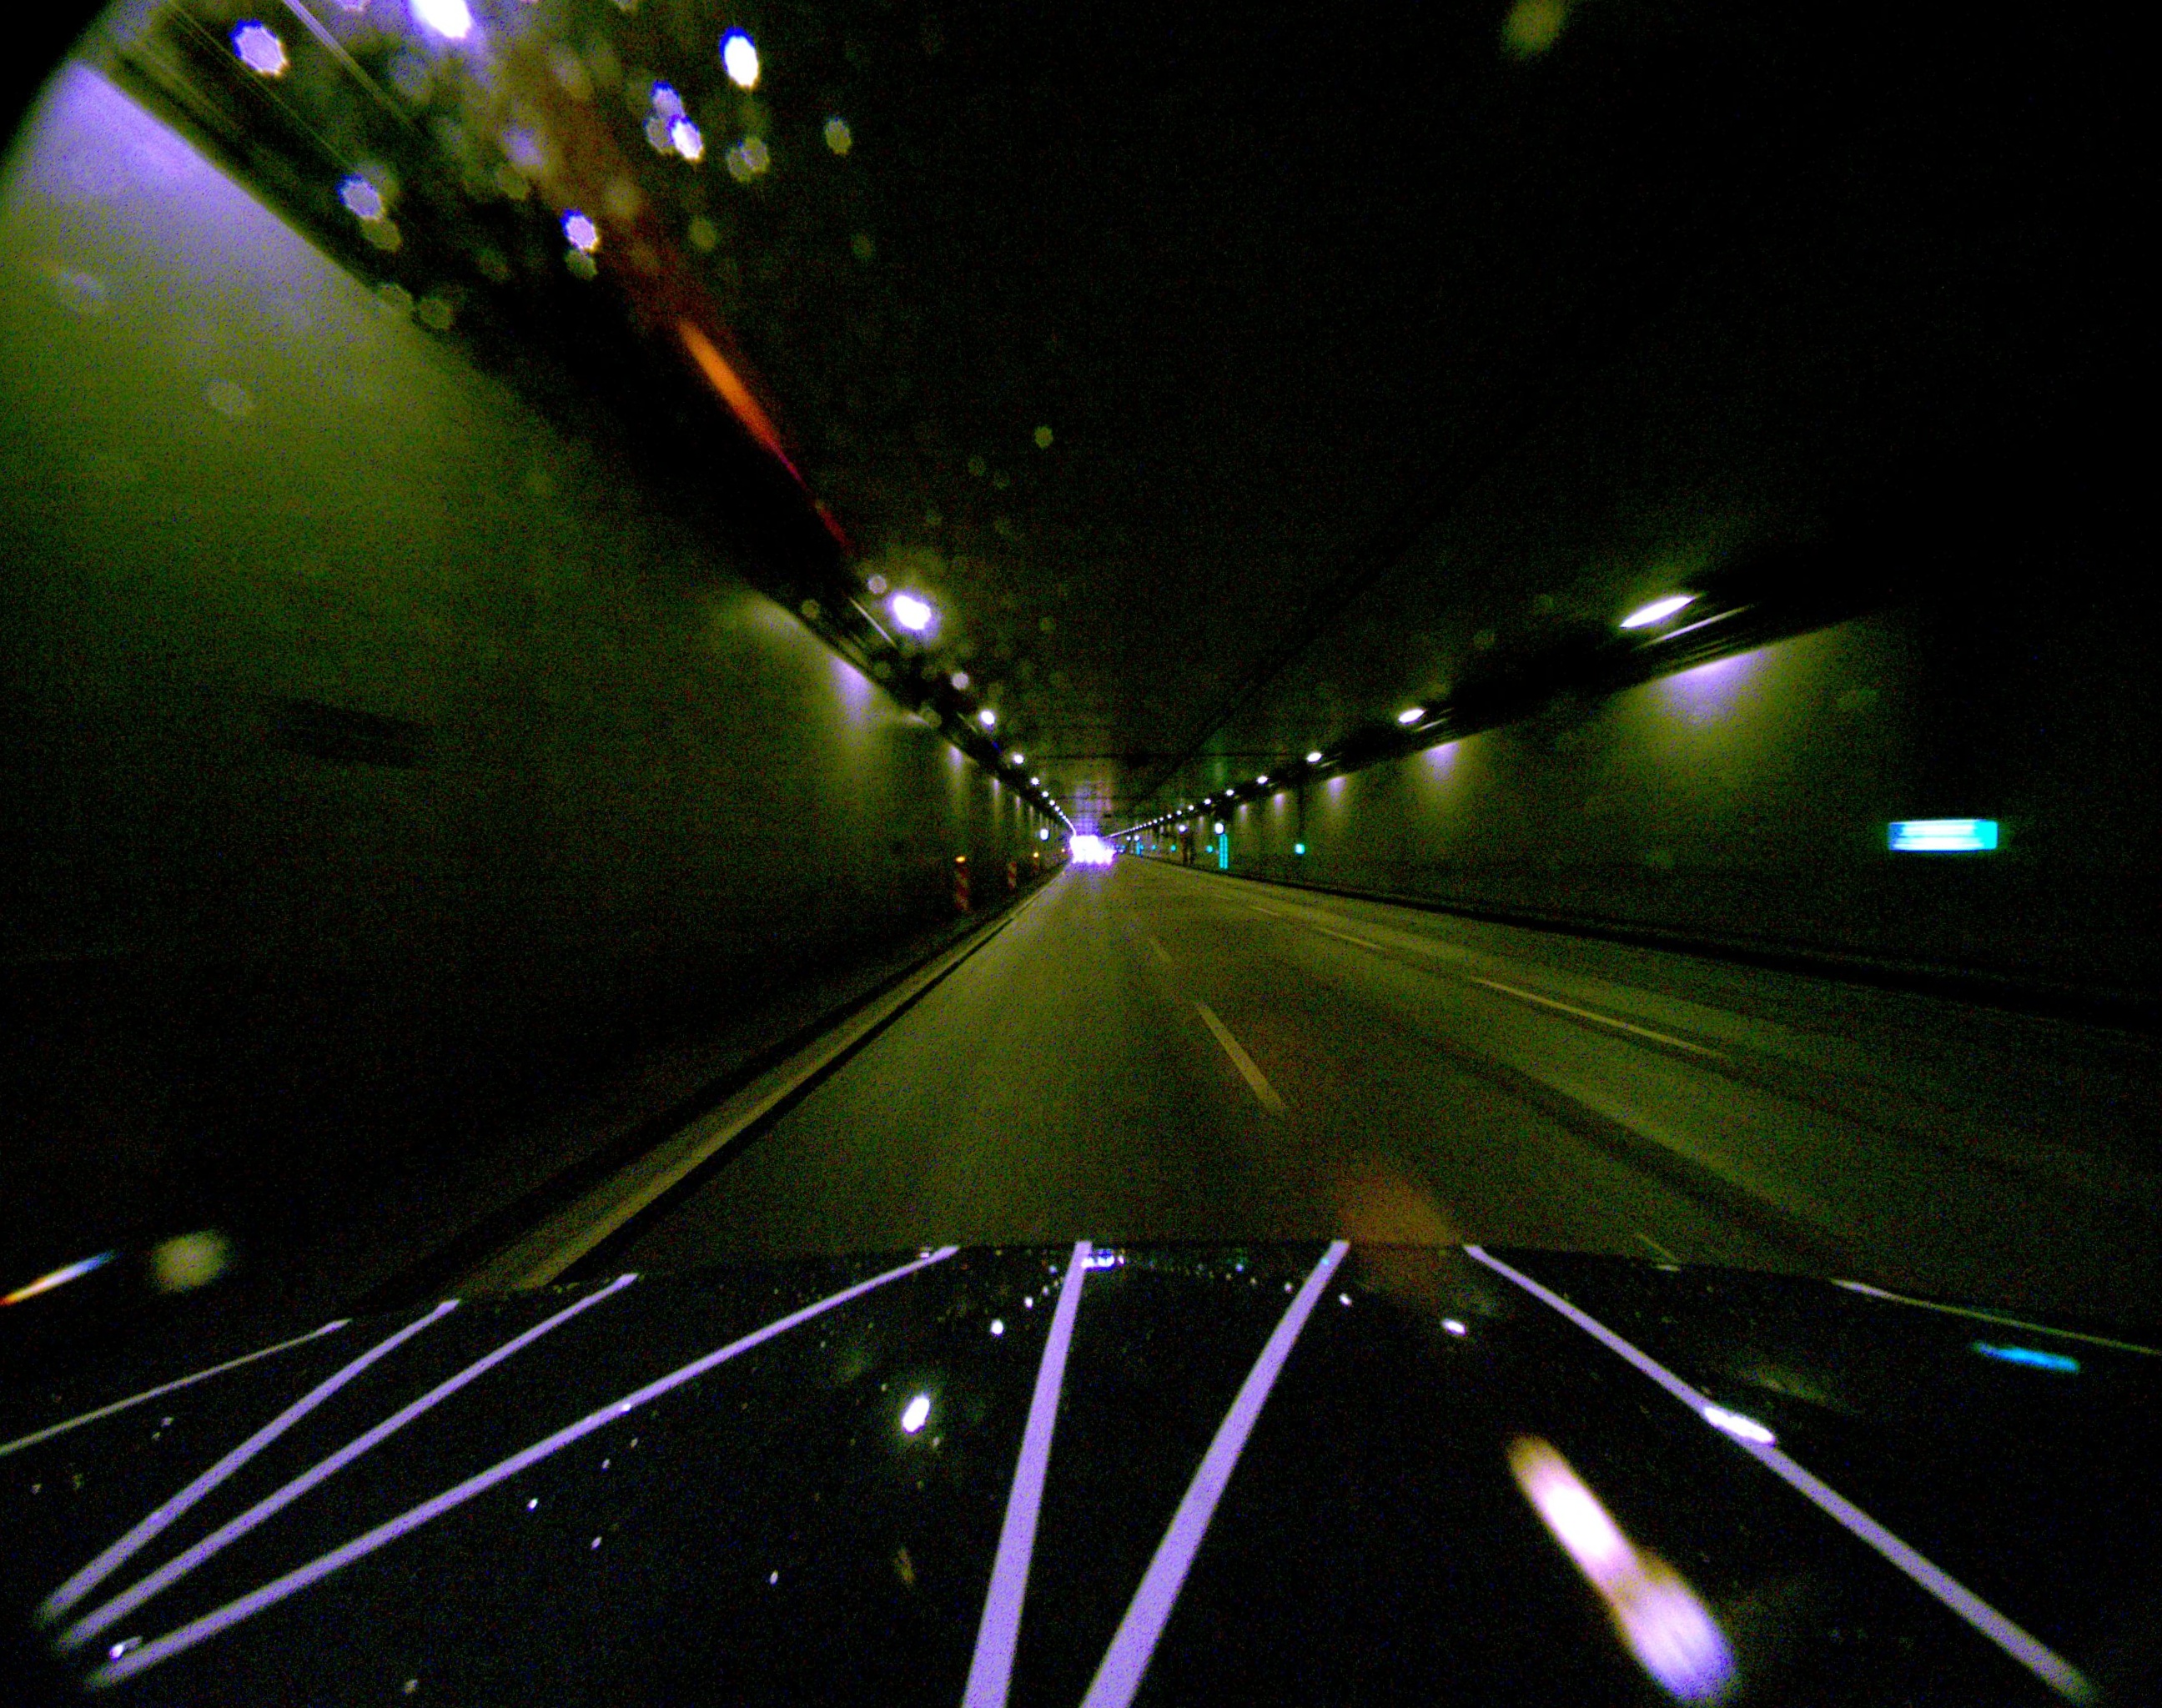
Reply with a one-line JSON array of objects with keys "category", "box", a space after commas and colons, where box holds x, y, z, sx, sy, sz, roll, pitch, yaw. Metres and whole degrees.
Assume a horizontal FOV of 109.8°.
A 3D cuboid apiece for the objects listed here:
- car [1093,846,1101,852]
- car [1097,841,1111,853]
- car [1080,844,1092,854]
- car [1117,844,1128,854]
[{"category": "car", "box": [4.460, -1.444, 213.017, 1.998, 1.756, 4.000, -1, 1, 1]}, {"category": "car", "box": [3.678, -1.135, 121.330, 1.999, 1.686, 3.999, -4, 1, 0]}, {"category": "car", "box": [0.919, -0.938, 136.471, 1.998, 1.686, 4.000, -1, 1, 1]}, {"category": "car", "box": [7.775, -0.920, 142.926, 1.998, 1.685, 4.000, 0, 0, 1]}]
